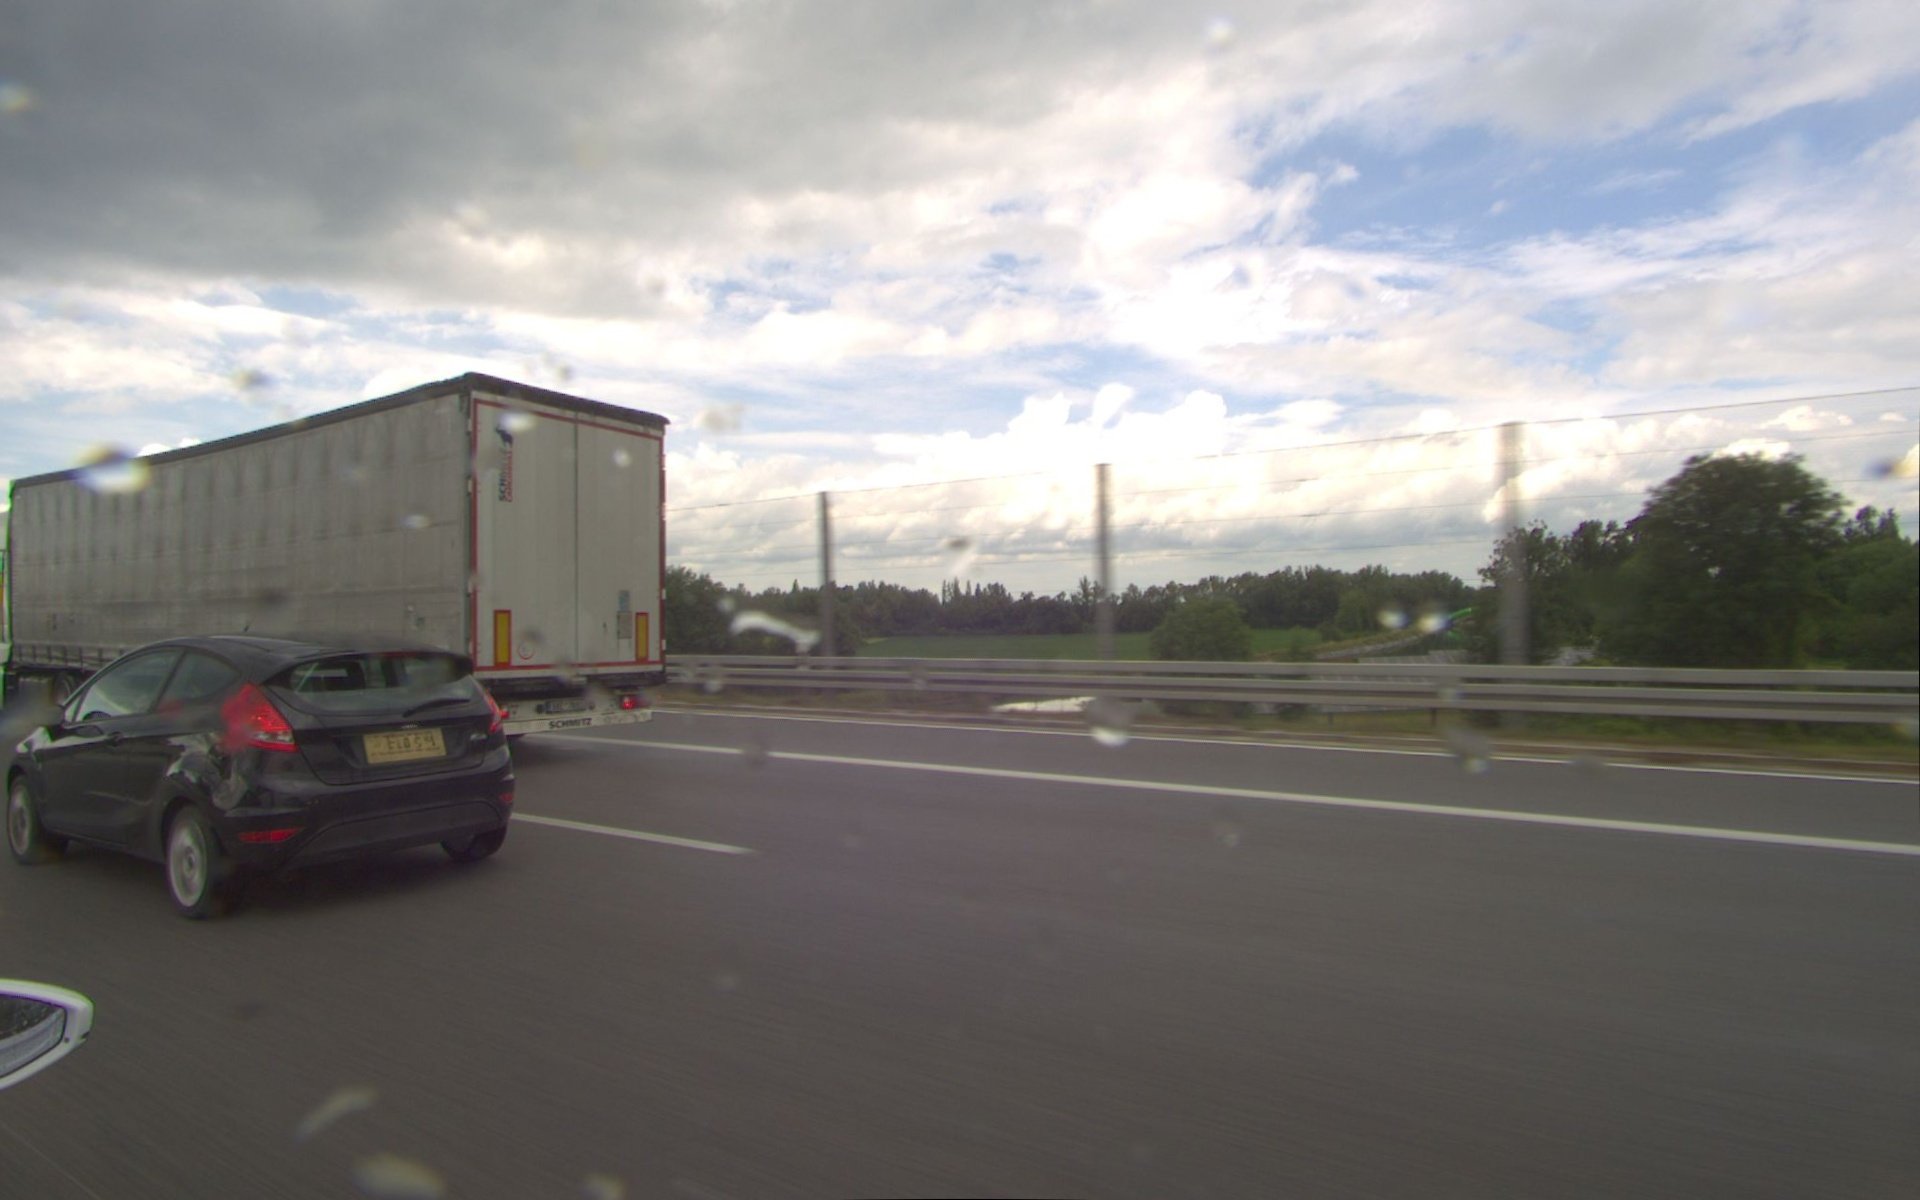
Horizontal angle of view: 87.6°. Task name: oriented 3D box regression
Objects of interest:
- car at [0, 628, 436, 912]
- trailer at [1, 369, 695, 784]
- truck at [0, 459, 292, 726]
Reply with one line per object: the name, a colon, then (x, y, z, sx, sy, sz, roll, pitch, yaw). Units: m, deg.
car: (-5.047, 0.917, 6.625, 3.118, 1.460, 1.444, -1, -1, 32)
trailer: (-9.926, -0.133, 14.833, 13.916, 4.072, 2.956, -1, -1, 32)
truck: (-15.385, -0.052, 18.261, 6.494, 4.072, 2.956, 0, -1, 32)
